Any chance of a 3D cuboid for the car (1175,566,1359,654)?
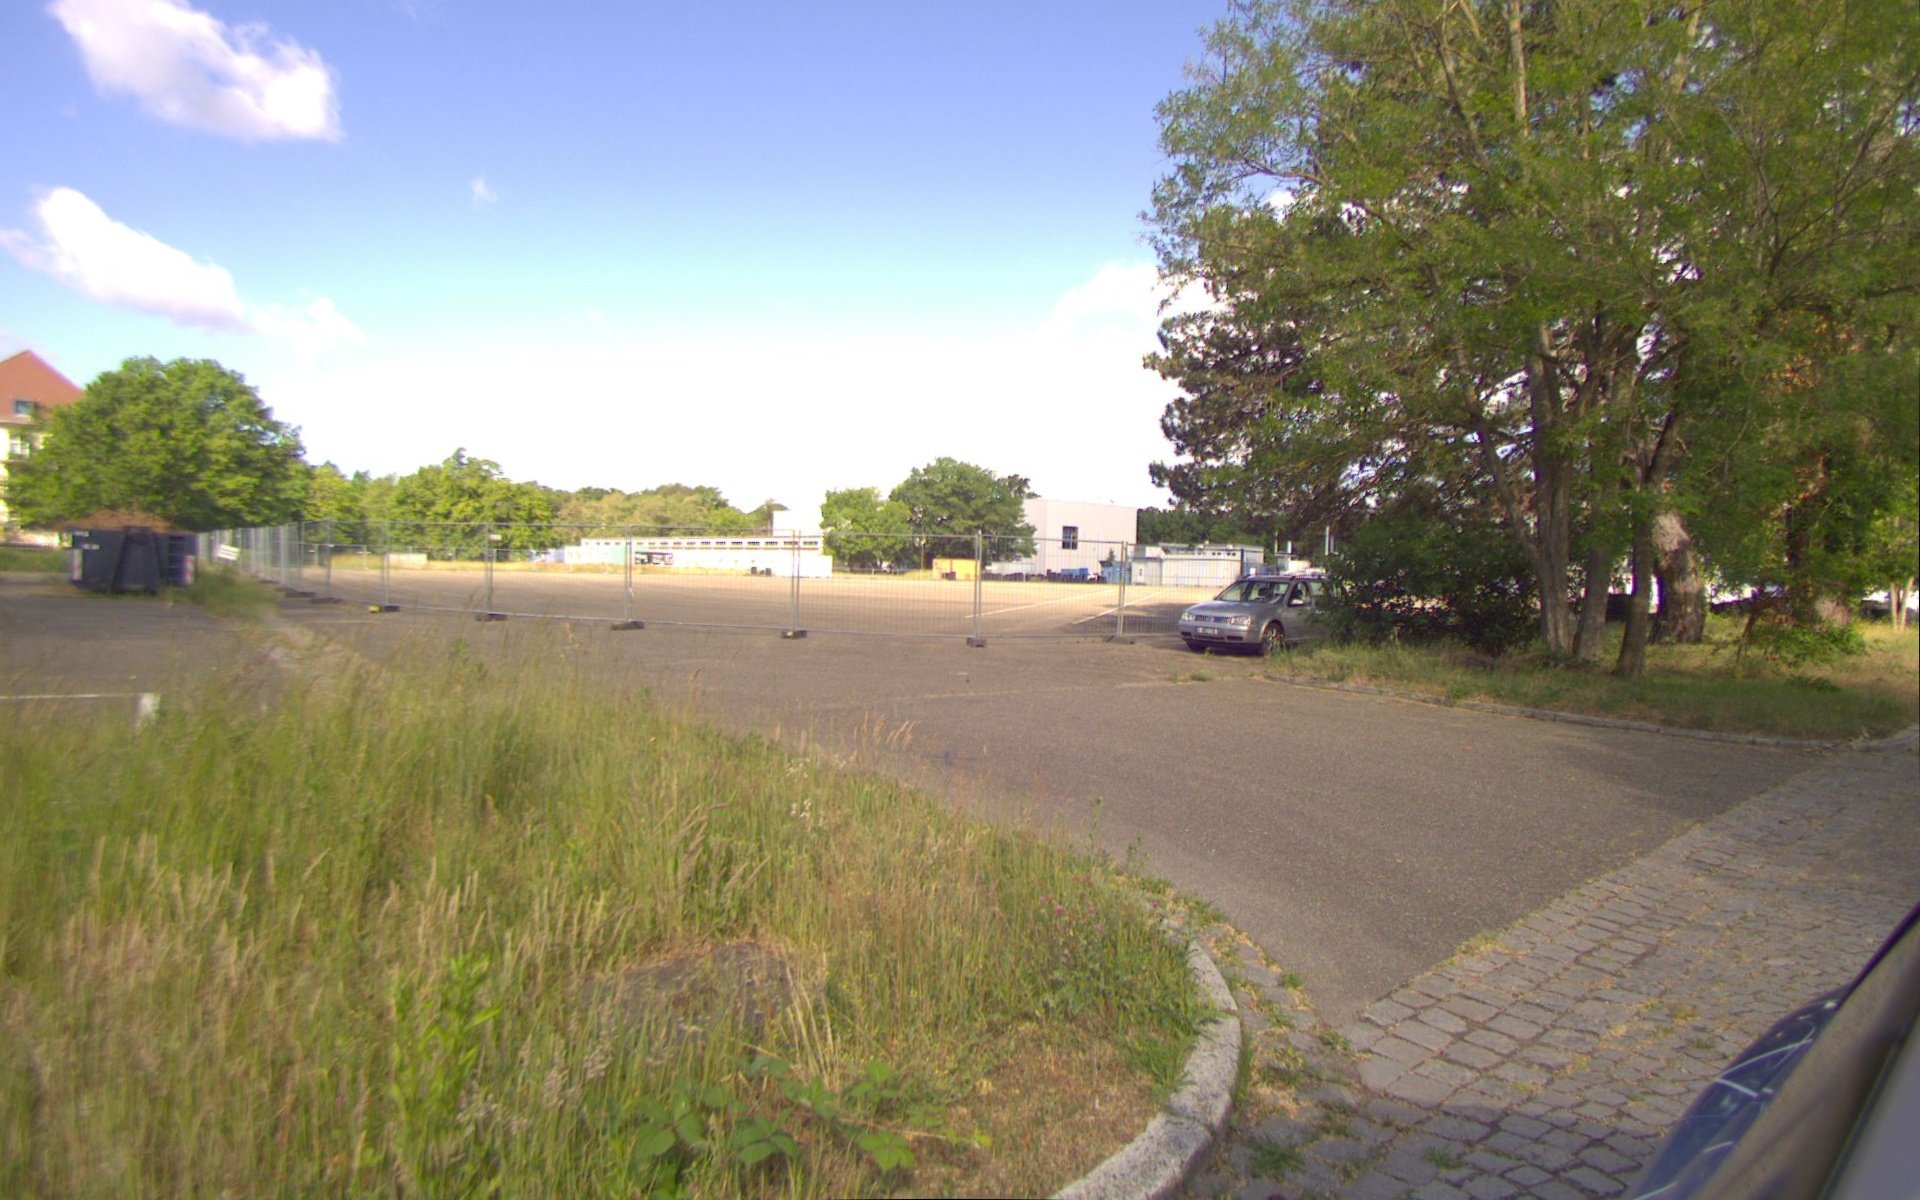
[{"bbox_3d":[5.876,0.148,19.119,3.920,1.461,1.576,0,3,-44],"label":"car"}]
